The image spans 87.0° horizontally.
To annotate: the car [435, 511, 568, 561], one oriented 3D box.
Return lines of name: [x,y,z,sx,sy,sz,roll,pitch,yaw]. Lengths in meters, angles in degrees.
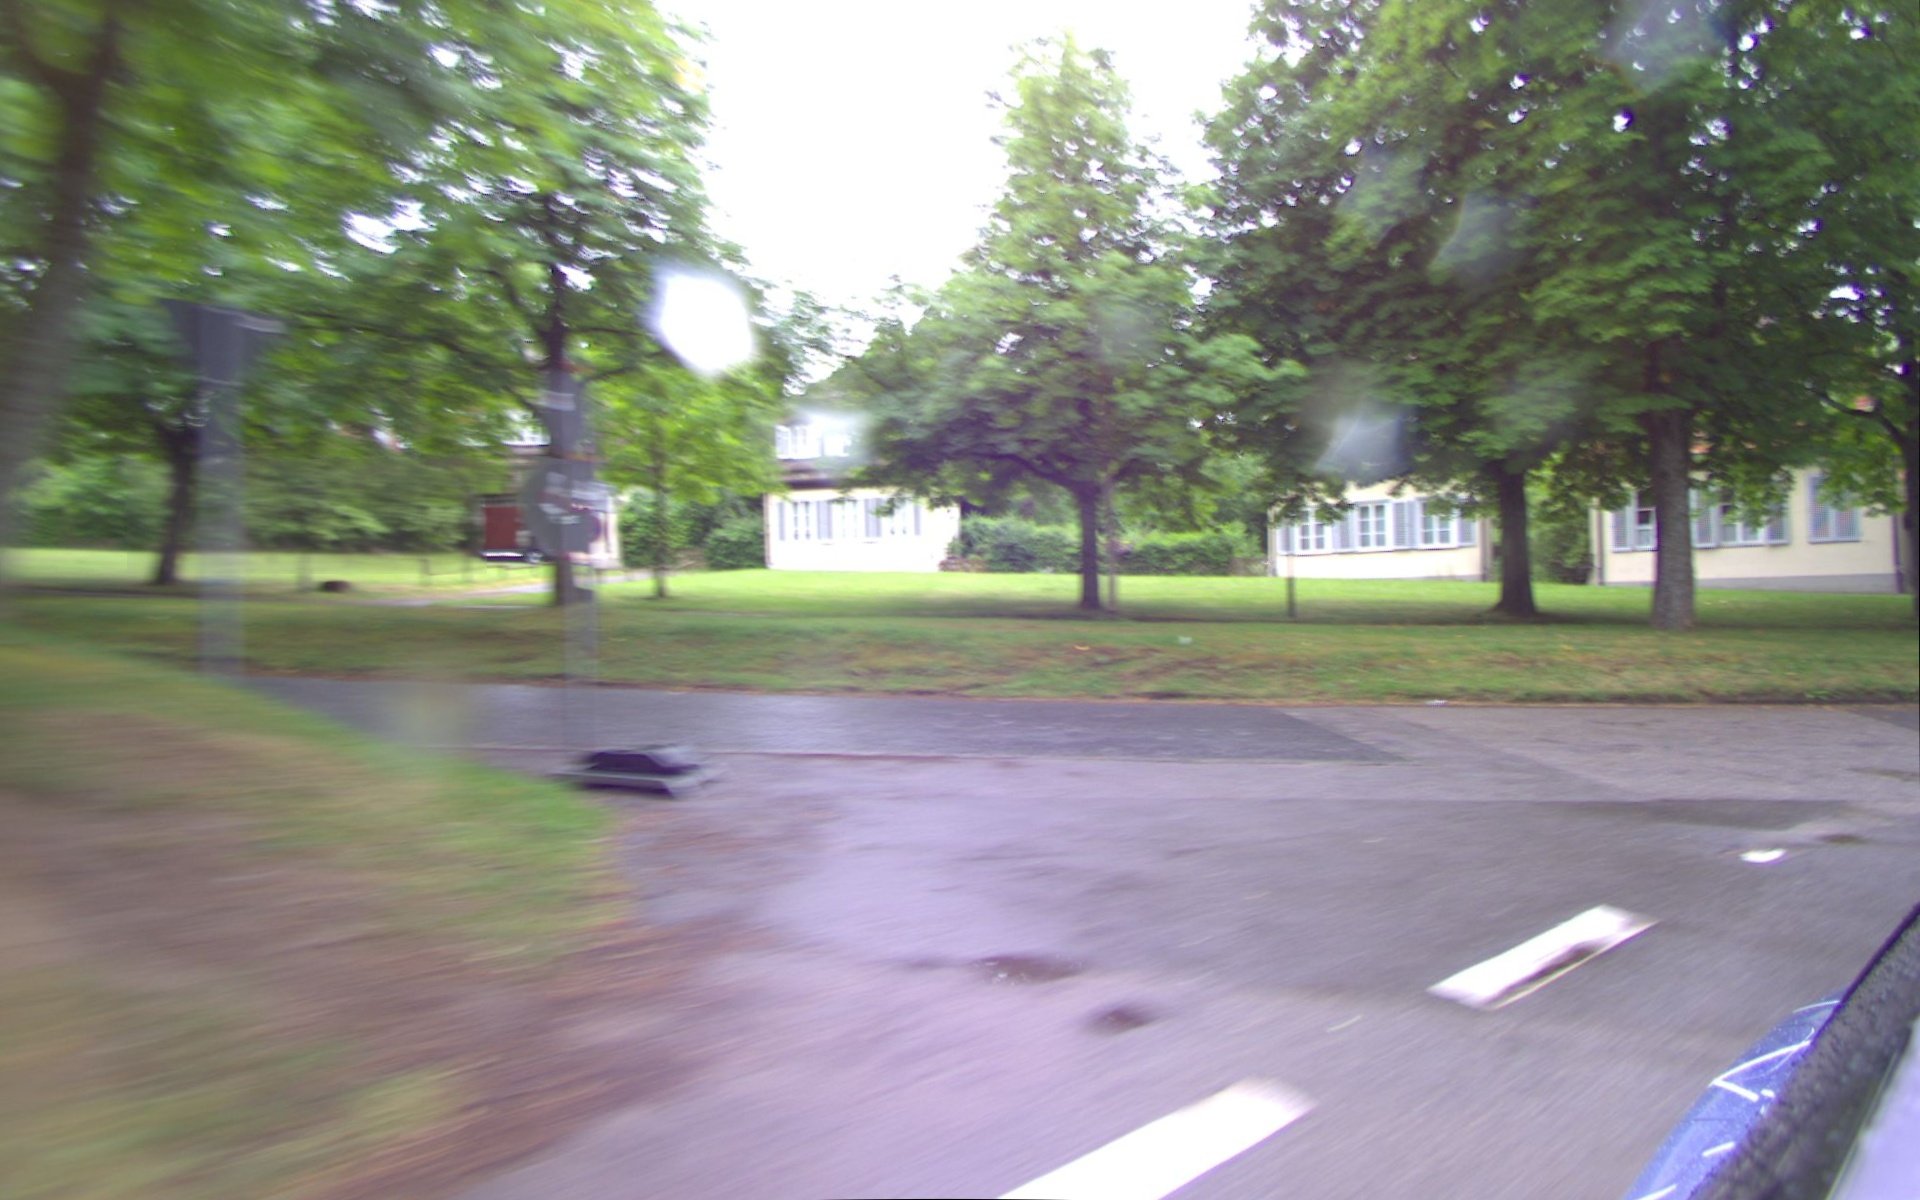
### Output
car: [-18.402,-2.556,40.784,4.472,1.858,2.003,-1,1,-8]
